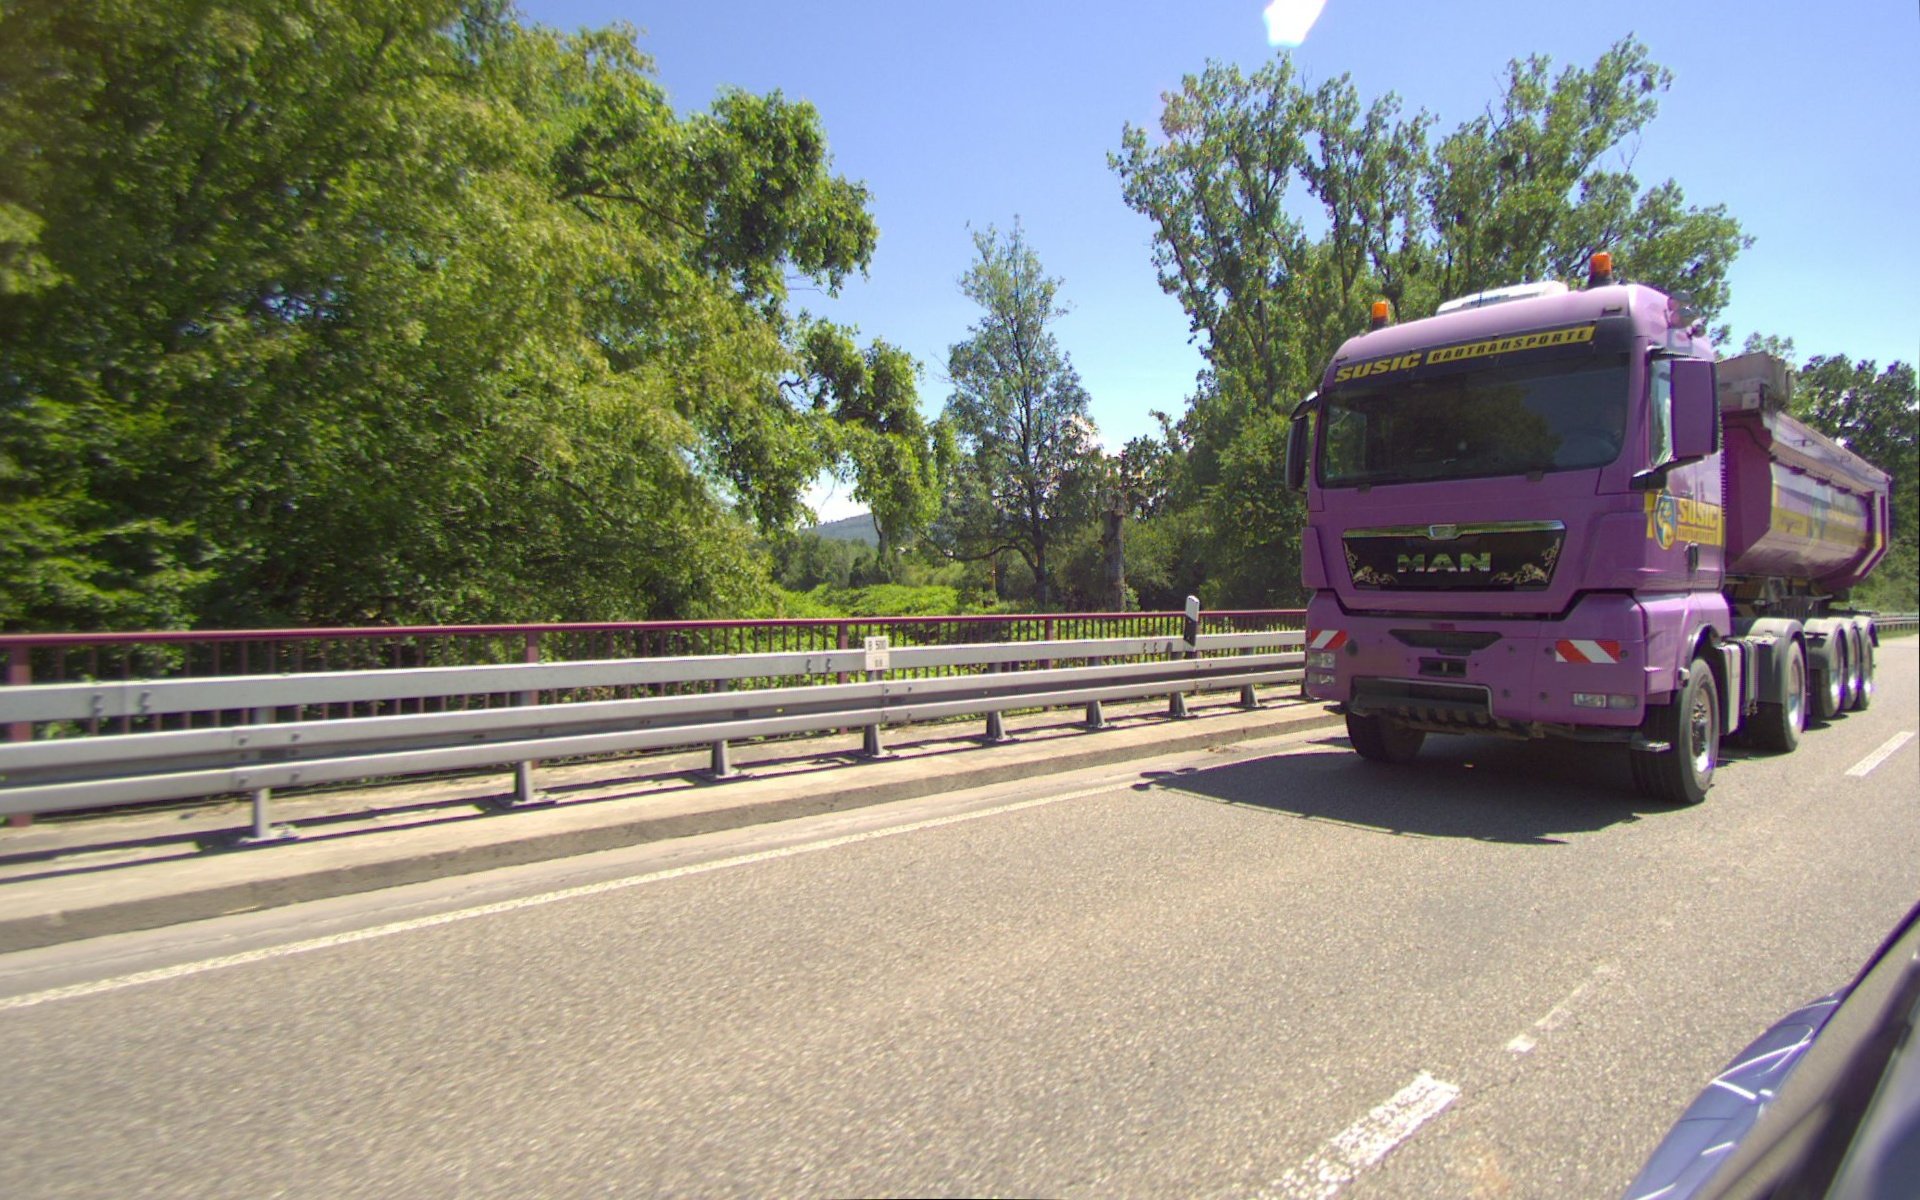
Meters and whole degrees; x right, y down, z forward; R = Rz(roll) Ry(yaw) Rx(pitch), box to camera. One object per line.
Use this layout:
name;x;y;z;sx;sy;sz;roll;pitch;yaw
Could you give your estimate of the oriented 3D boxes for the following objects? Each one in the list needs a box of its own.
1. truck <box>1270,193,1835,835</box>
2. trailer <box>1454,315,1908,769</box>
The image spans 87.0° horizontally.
truck;5.439;-0.533;8.828;5.836;3.738;2.602;0;1;-42
trailer;8.961;-0.510;11.998;8.465;3.675;2.602;0;1;-42
